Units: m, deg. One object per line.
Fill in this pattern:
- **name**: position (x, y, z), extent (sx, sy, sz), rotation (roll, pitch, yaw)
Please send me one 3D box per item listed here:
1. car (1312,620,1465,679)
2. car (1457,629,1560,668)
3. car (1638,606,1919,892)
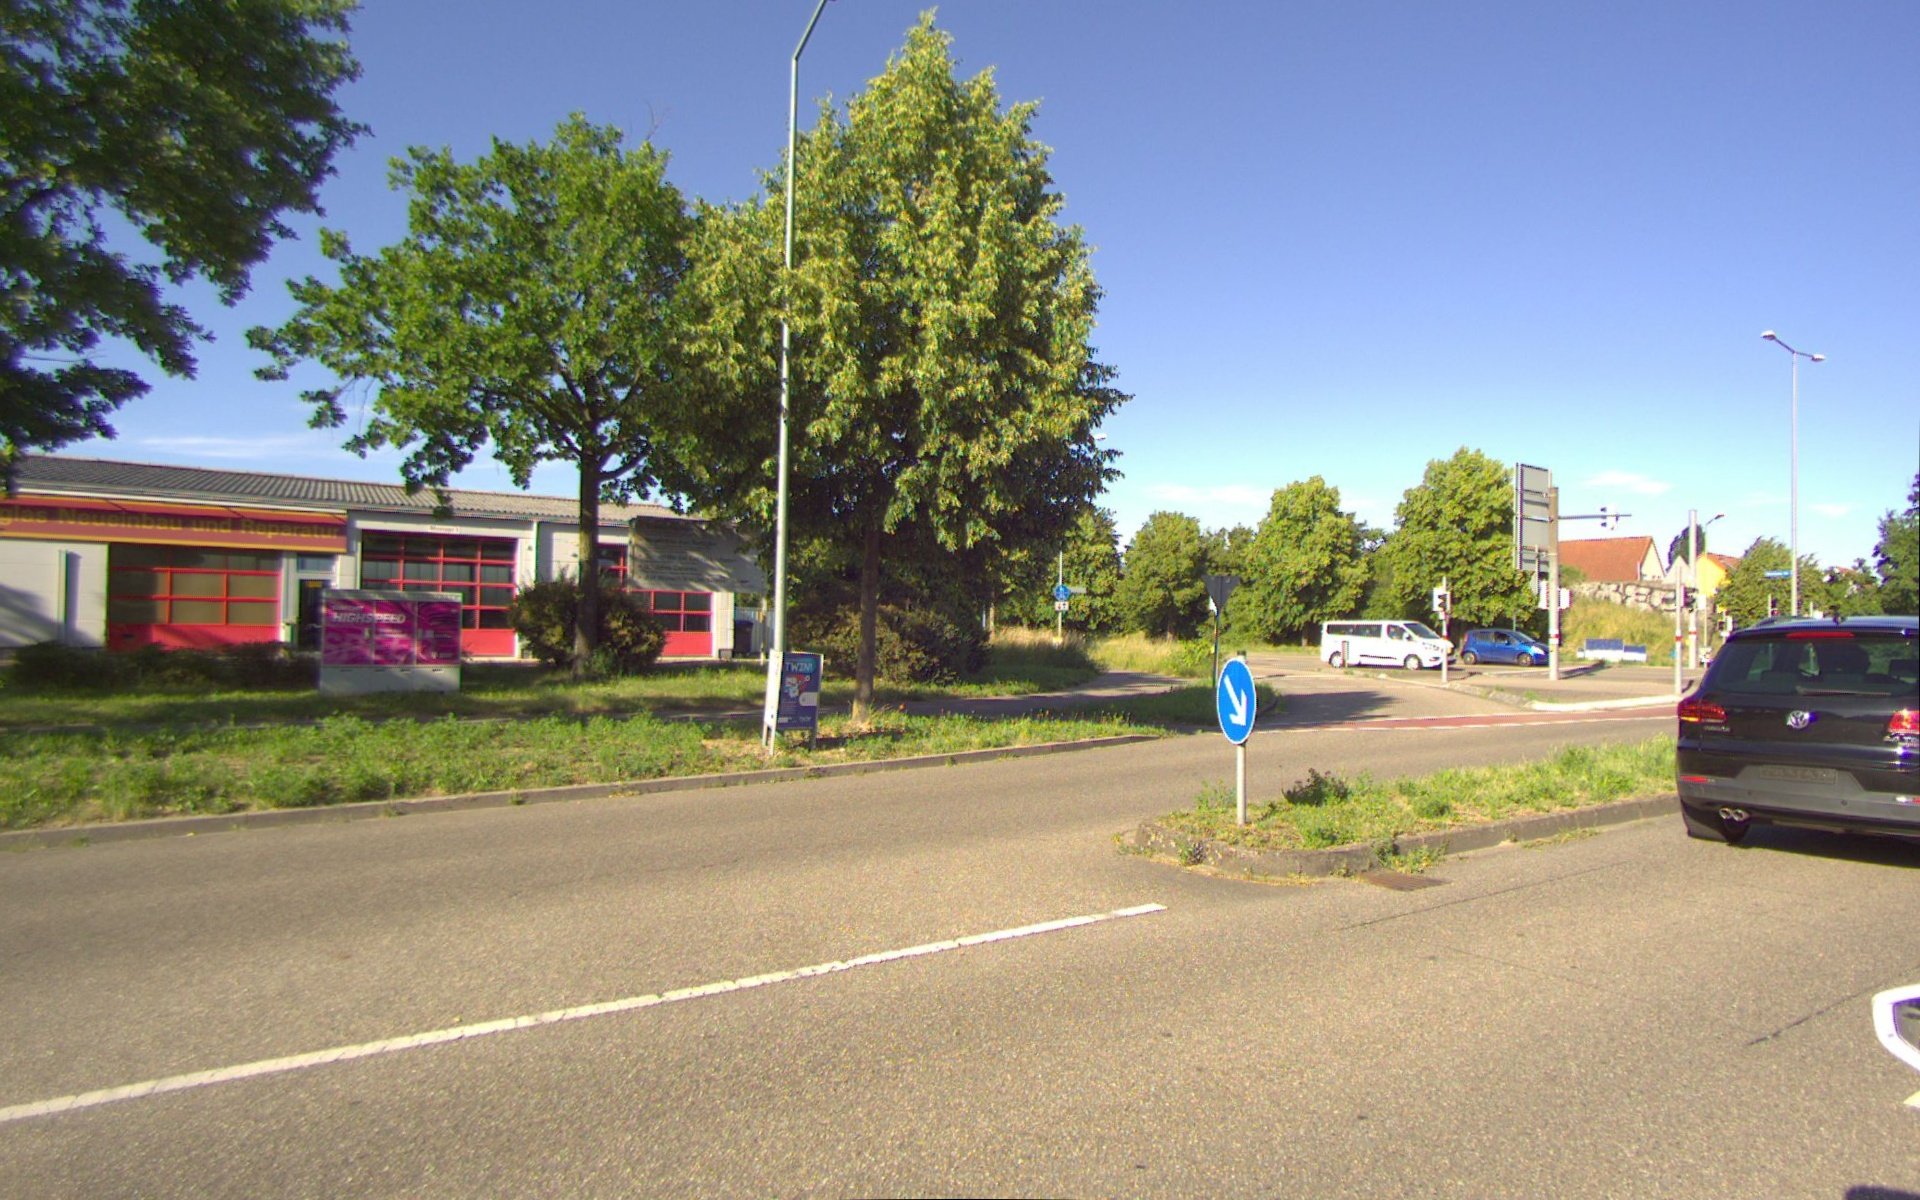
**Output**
- **car**: position (17.179, 1.939, 40.567), extent (2.160, 2.146, 5.350), rotation (2, -1, -35)
- **car**: position (23.696, 2.072, 43.461), extent (1.733, 1.581, 3.559), rotation (2, -2, -35)
- **car**: position (7.007, 0.953, 7.469), extent (3.955, 1.675, 1.763), rotation (2, -3, -31)
